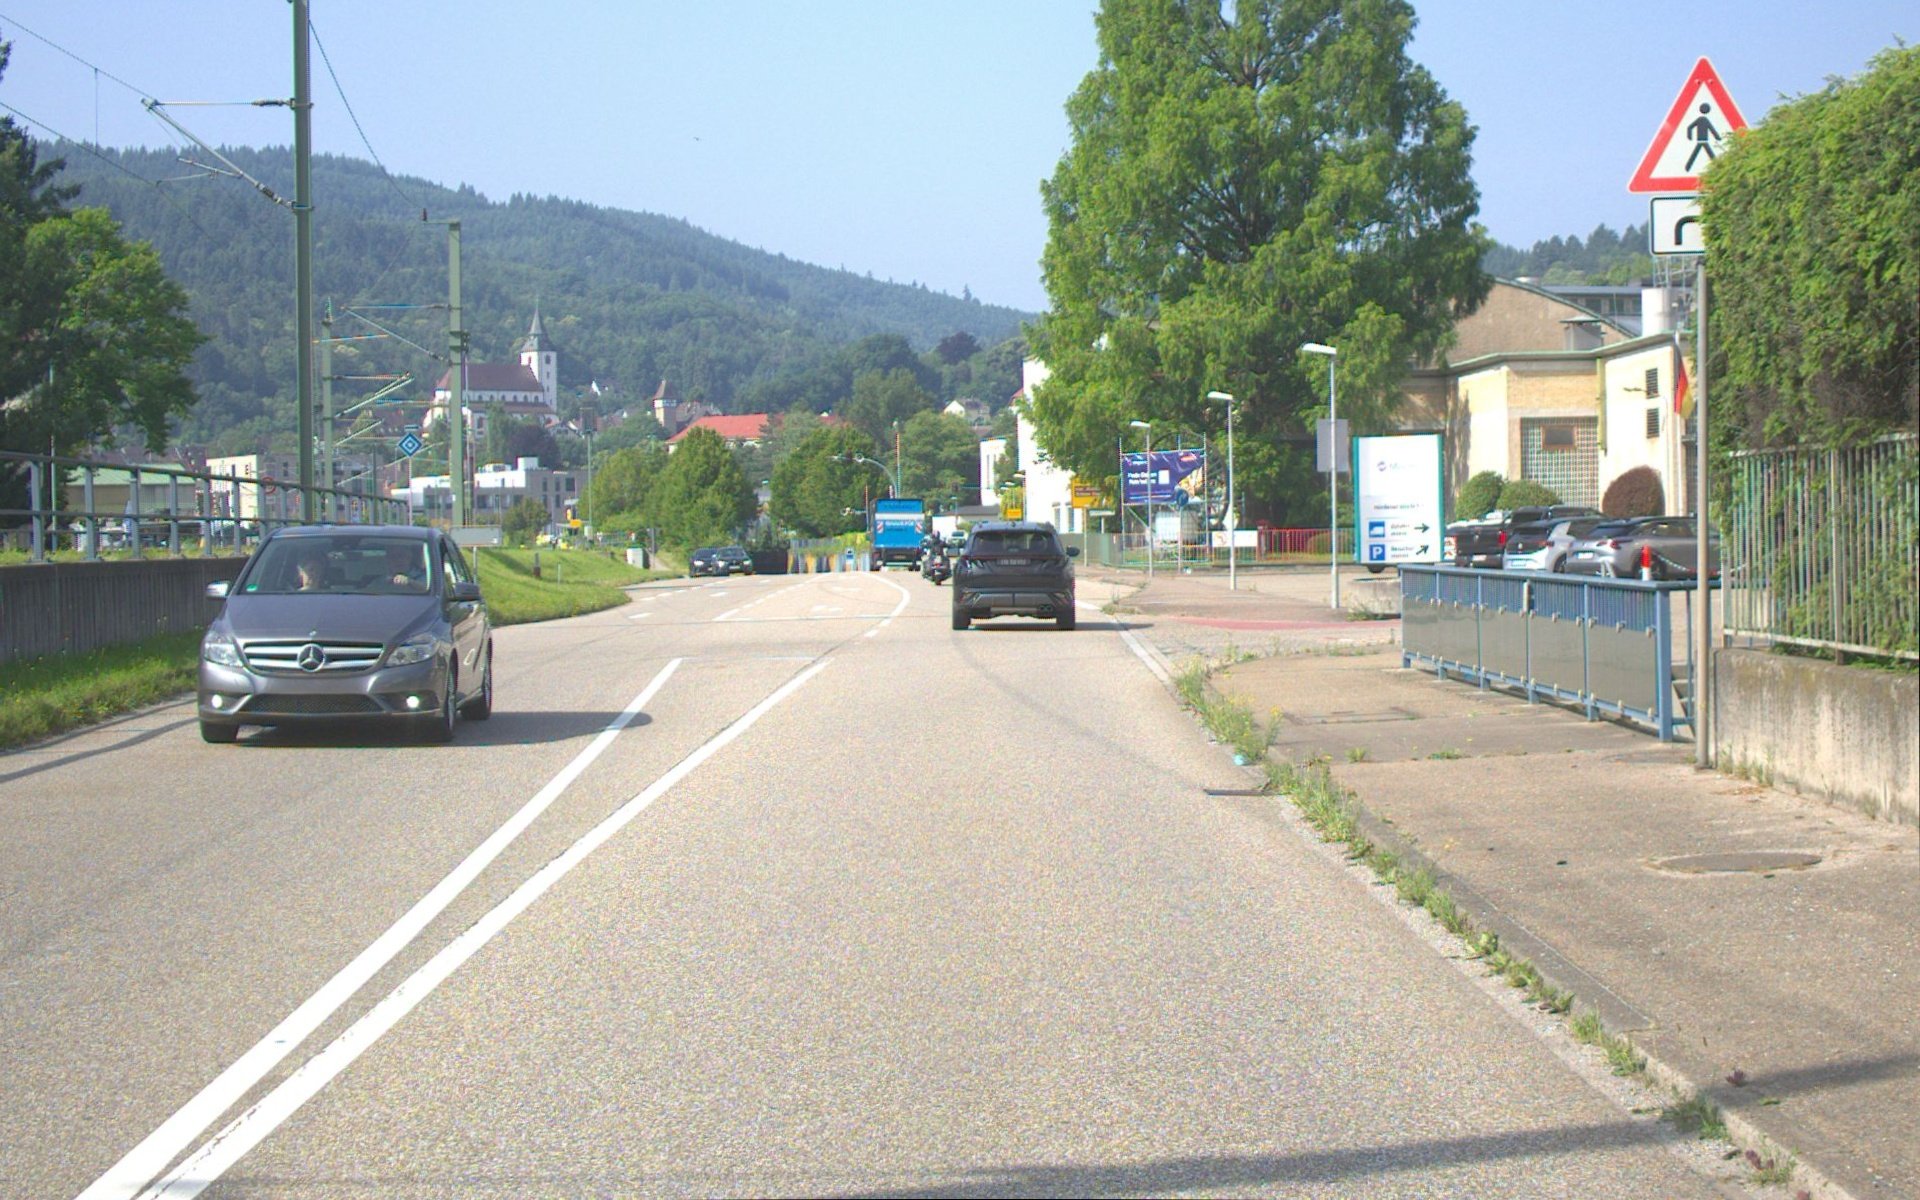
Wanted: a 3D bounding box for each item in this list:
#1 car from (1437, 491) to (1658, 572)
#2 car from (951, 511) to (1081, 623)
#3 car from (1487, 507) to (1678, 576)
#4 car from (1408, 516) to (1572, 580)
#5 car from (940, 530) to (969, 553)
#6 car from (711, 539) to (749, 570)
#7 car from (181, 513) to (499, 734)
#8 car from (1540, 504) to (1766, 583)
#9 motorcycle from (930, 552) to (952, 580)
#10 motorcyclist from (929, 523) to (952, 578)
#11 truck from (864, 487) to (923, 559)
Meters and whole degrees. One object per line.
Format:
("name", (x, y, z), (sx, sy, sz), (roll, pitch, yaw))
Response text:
("car", (13.982, -1.637, 81.757), (5.020, 1.826, 1.983), (-2, 1, -29))
("car", (0.876, -0.535, 53.124), (1.919, 1.634, 4.000), (-1, 1, 1))
("car", (14.312, -1.350, 79.044), (3.987, 1.499, 1.886), (-2, 1, -29))
("car", (14.497, -1.444, 94.034), (4.159, 1.666, 1.870), (-2, 1, -29))
("car", (-0.345, -3.747, 221.827), (1.767, 1.481, 4.000), (0, 1, 1))
("car", (-11.029, -2.201, 164.857), (1.755, 1.424, 4.001), (-1, 1, -3))
("car", (-4.527, 0.117, 25.665), (1.741, 1.502, 4.200), (-1, 1, -2))
("car", (14.208, -1.169, 70.457), (4.297, 1.499, 1.886), (-2, 1, -29))
("motorcycle", (-0.543, -0.959, 96.897), (0.606, 0.751, 1.415), (-1, 1, -1))
("motorcyclist", (-0.552, -1.401, 96.818), (0.606, 1.515, 0.863), (-1, 1, -1))
("truck", (-2.867, -3.314, 147.513), (2.312, 2.960, 5.967), (-1, 2, -3))
